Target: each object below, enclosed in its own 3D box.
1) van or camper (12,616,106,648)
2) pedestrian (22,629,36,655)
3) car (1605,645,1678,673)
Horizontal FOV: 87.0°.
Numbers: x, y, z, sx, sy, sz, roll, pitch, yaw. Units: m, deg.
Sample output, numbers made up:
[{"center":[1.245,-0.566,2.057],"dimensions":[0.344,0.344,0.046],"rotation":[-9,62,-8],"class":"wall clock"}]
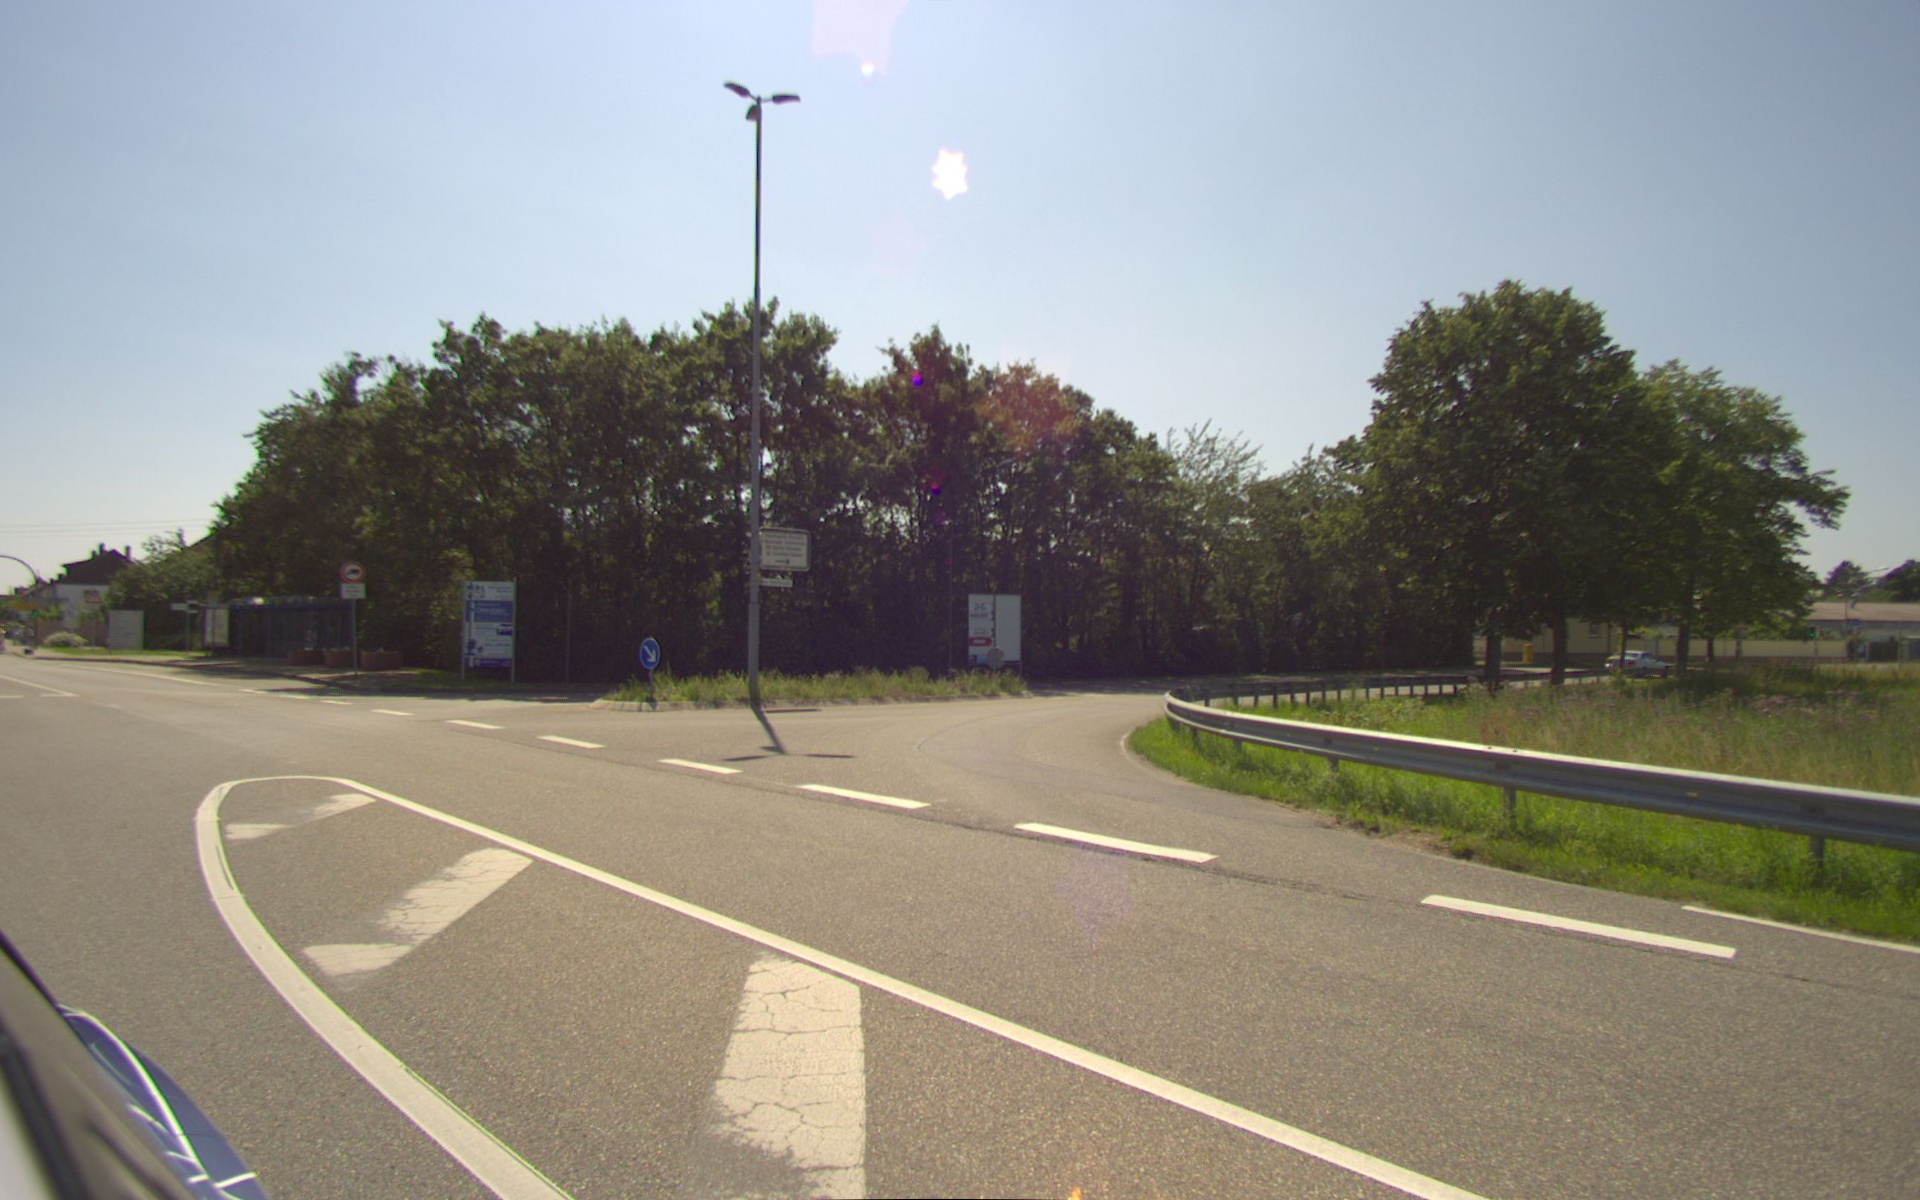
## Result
[{"center":[-84.257,2.994,94.706],"dimensions":[2.285,2.866,6.188],"rotation":[-1,-3,35],"class":"van or camper"},{"center":[-61.465,2.764,66.785],"dimensions":[0.688,1.620,0.607],"rotation":[-2,0,44],"class":"pedestrian"},{"center":[37.175,3.187,55.171],"dimensions":[4.340,1.482,1.646],"rotation":[2,-3,-32],"class":"car"}]
